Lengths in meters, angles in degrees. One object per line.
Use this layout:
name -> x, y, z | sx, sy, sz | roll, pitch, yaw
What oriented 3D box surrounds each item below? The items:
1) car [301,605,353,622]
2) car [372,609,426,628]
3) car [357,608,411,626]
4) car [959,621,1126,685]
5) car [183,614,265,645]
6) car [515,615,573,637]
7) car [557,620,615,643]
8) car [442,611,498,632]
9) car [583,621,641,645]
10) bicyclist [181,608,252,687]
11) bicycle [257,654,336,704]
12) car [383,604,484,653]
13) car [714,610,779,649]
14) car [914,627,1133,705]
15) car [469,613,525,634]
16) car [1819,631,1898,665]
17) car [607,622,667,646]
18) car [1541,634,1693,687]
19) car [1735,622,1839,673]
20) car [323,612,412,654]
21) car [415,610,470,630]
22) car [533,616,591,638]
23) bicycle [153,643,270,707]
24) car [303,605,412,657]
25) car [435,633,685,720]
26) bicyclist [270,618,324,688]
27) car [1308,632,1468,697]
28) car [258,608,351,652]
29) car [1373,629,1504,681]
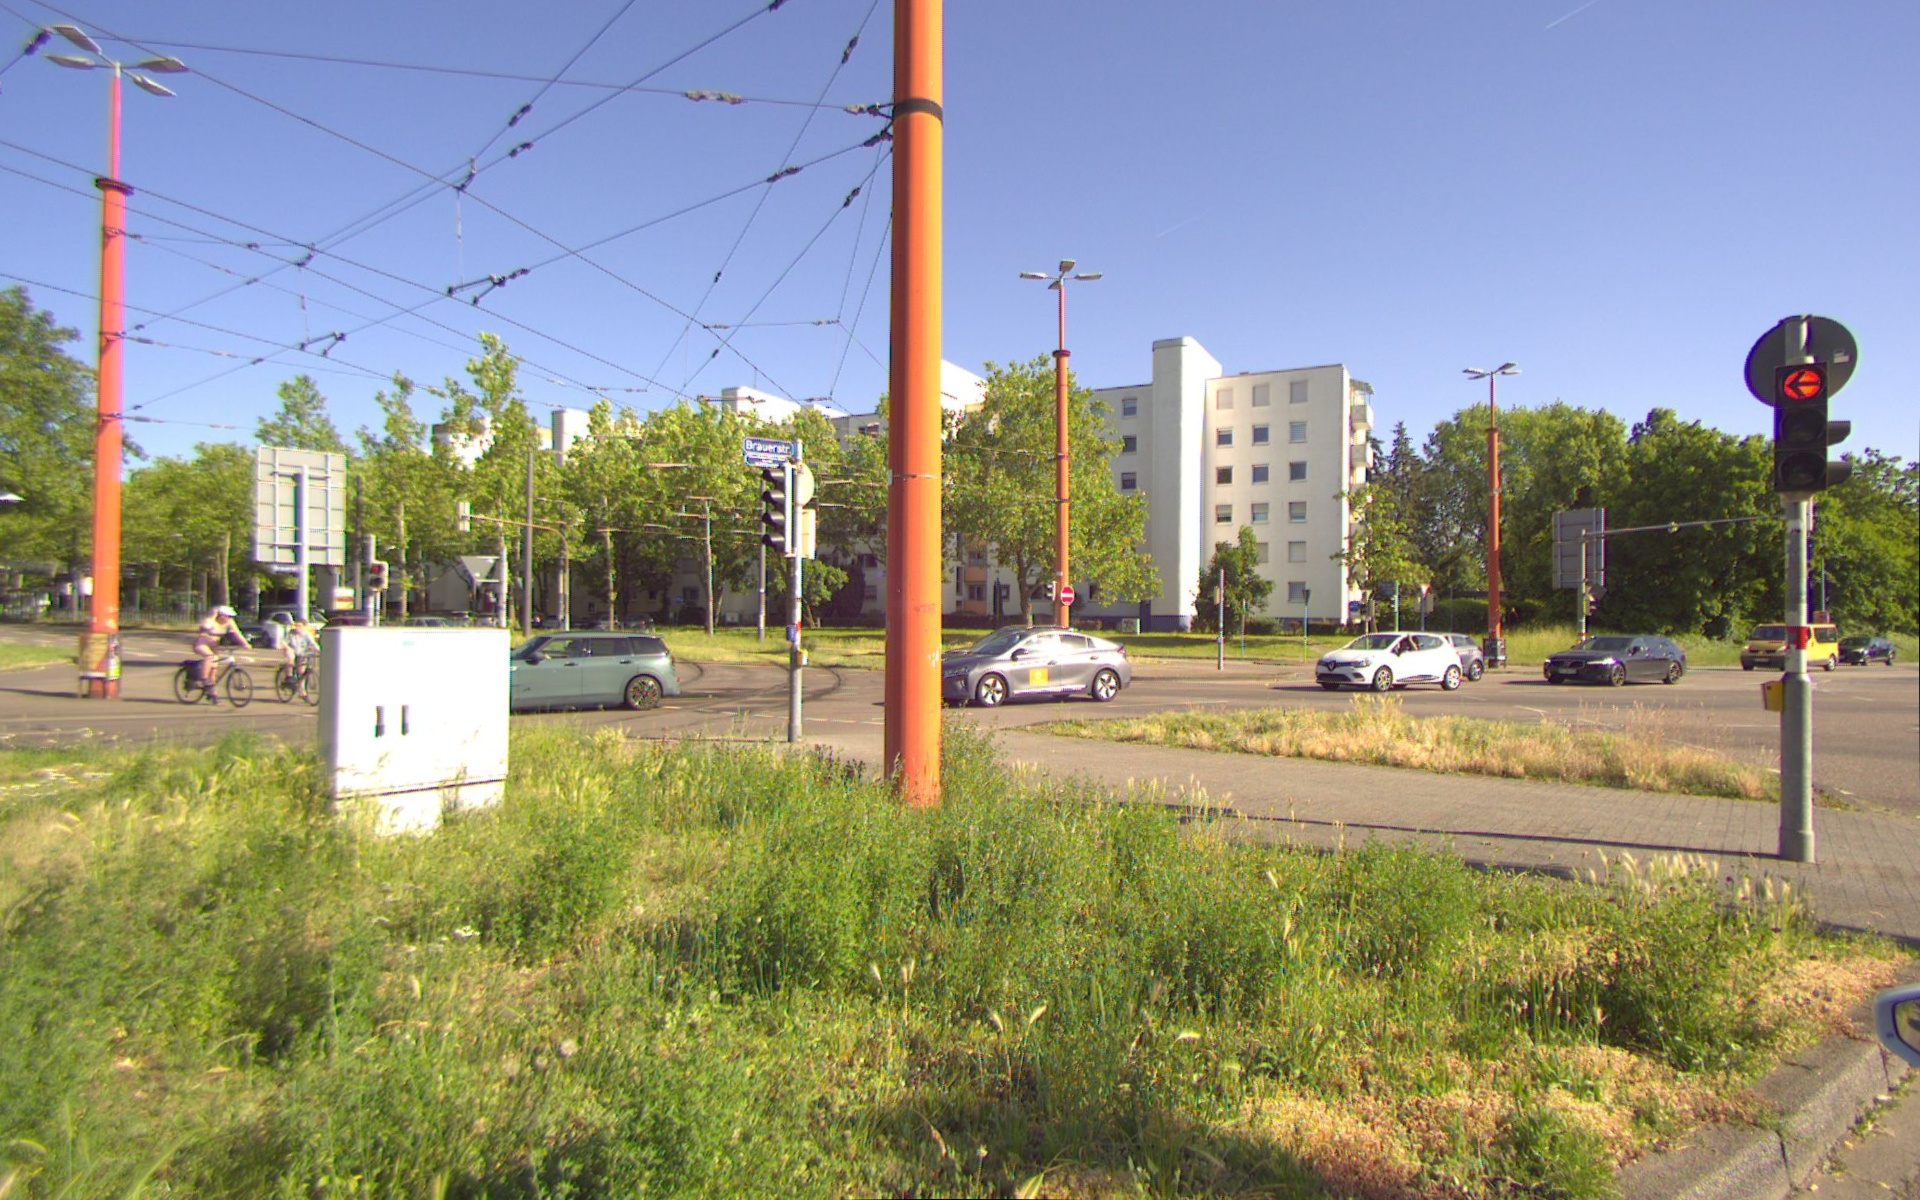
car -> -63.536, 1.378, 100.840 | 3.934, 1.617, 1.890 | 2, 0, -15
car -> -50.993, 1.643, 91.396 | 3.934, 1.617, 1.890 | 2, 0, -15
car -> -53.666, 1.589, 93.677 | 3.934, 1.617, 1.890 | 2, 0, -15
car -> 2.014, 1.278, 24.356 | 3.838, 1.452, 1.538 | 2, -3, -29
car -> -34.714, 1.374, 47.352 | 3.930, 1.339, 1.732 | 1, 0, 31
car -> -32.855, 2.041, 79.415 | 3.934, 1.617, 1.890 | 2, 0, -15
car -> -28.134, 2.354, 75.684 | 3.934, 1.617, 1.890 | 2, 0, -15
car -> -41.758, 1.849, 85.658 | 3.934, 1.617, 1.890 | 2, 0, -15
car -> -25.670, 2.410, 74.223 | 3.934, 1.617, 1.890 | 2, 0, -15
bicyclist -> -14.025, 0.880, 18.951 | 0.742, 1.449, 0.752 | 1, 0, 18
bicycle -> -13.191, 1.560, 19.967 | 1.593, 0.894, 0.368 | 1, 0, 18
car -> -22.940, 1.203, 43.735 | 4.200, 1.926, 1.996 | 1, 0, 31
car -> -13.841, 1.903, 65.043 | 3.934, 2.341, 1.889 | 2, 0, -15
car -> 1.299, 1.269, 19.933 | 4.211, 1.395, 1.541 | 1, -1, -30
car -> -38.559, 1.921, 83.776 | 3.934, 1.617, 1.890 | 2, 0, -15
car -> 47.693, 2.527, 53.301 | 3.952, 1.660, 1.984 | 2, 0, -30
car -> -23.181, 2.461, 72.244 | 3.934, 1.617, 1.890 | 2, 0, -15
car -> 18.926, 1.698, 28.894 | 4.737, 1.386, 1.622 | 1, -1, -29
car -> 34.825, 1.991, 42.265 | 4.730, 2.013, 1.750 | 2, 0, -29
car -> -27.691, 1.505, 46.912 | 3.929, 1.773, 1.909 | 1, 0, 31
car -> -45.128, 1.773, 87.633 | 3.934, 1.617, 1.890 | 2, 0, -15
car -> -30.775, 2.084, 77.770 | 3.934, 1.617, 1.890 | 2, 0, -15
bicycle -> -14.143, 1.399, 18.970 | 2.313, 1.095, 0.474 | 1, 0, 17
car -> -24.287, 1.220, 40.449 | 4.200, 1.926, 1.996 | 1, 0, 31
car -> -7.278, 1.362, 18.397 | 4.088, 1.406, 1.424 | 2, 0, -28
bicyclist -> -13.159, 1.041, 19.945 | 0.686, 1.340, 0.549 | 1, 0, 17
car -> 10.638, 1.556, 24.943 | 3.901, 1.478, 1.598 | 1, -1, -29
car -> -28.936, 1.312, 44.302 | 3.929, 1.773, 1.909 | 1, 0, 31
car -> 14.694, 1.644, 30.798 | 3.952, 1.484, 1.688 | 1, -1, -30
